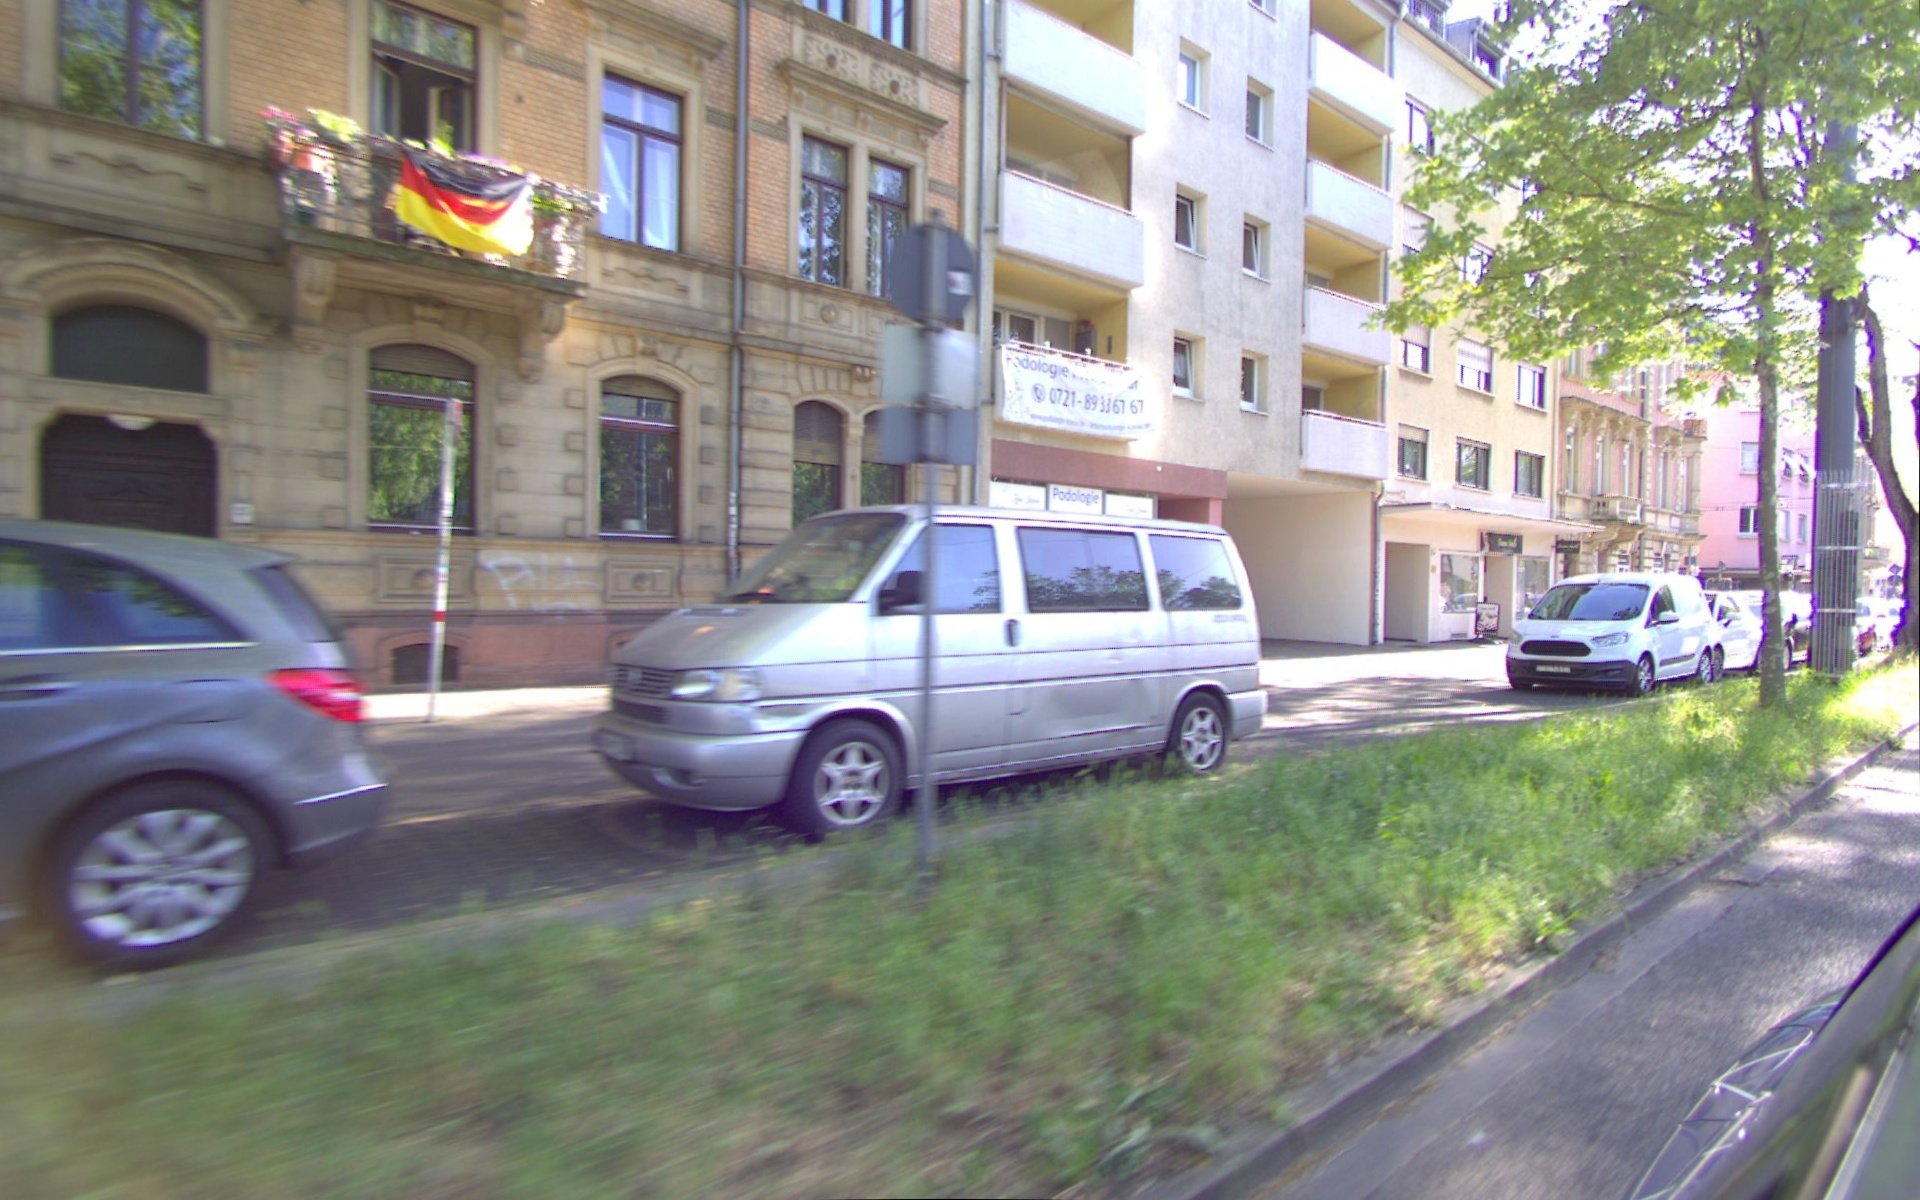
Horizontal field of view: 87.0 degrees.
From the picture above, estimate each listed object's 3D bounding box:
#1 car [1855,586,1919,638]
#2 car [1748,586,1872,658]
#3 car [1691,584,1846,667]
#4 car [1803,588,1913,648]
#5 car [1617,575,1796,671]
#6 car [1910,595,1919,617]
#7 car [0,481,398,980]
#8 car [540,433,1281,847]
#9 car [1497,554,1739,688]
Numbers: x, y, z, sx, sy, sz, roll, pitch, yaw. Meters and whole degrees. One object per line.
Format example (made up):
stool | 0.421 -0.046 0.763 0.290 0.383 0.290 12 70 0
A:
car | 27.920 0.351 29.844 4.095 1.440 1.699 0 -1 -40
car | 19.246 0.474 22.879 3.633 1.496 1.628 0 -1 -42
car | 16.095 0.485 20.097 3.717 1.504 1.565 0 -1 -38
car | 23.675 0.462 26.656 3.835 1.453 1.592 0 -1 -40
car | 12.888 0.376 17.425 3.426 1.499 1.516 0 -1 -36
car | 67.034 0.379 68.198 3.950 1.469 1.805 0 -1 20
car | -4.285 0.407 3.090 4.279 1.521 1.708 0 -1 -39
car | -0.066 0.194 6.711 4.712 1.839 1.869 0 -1 -38
car | 9.547 0.279 14.579 4.065 1.689 1.629 0 -1 -37
